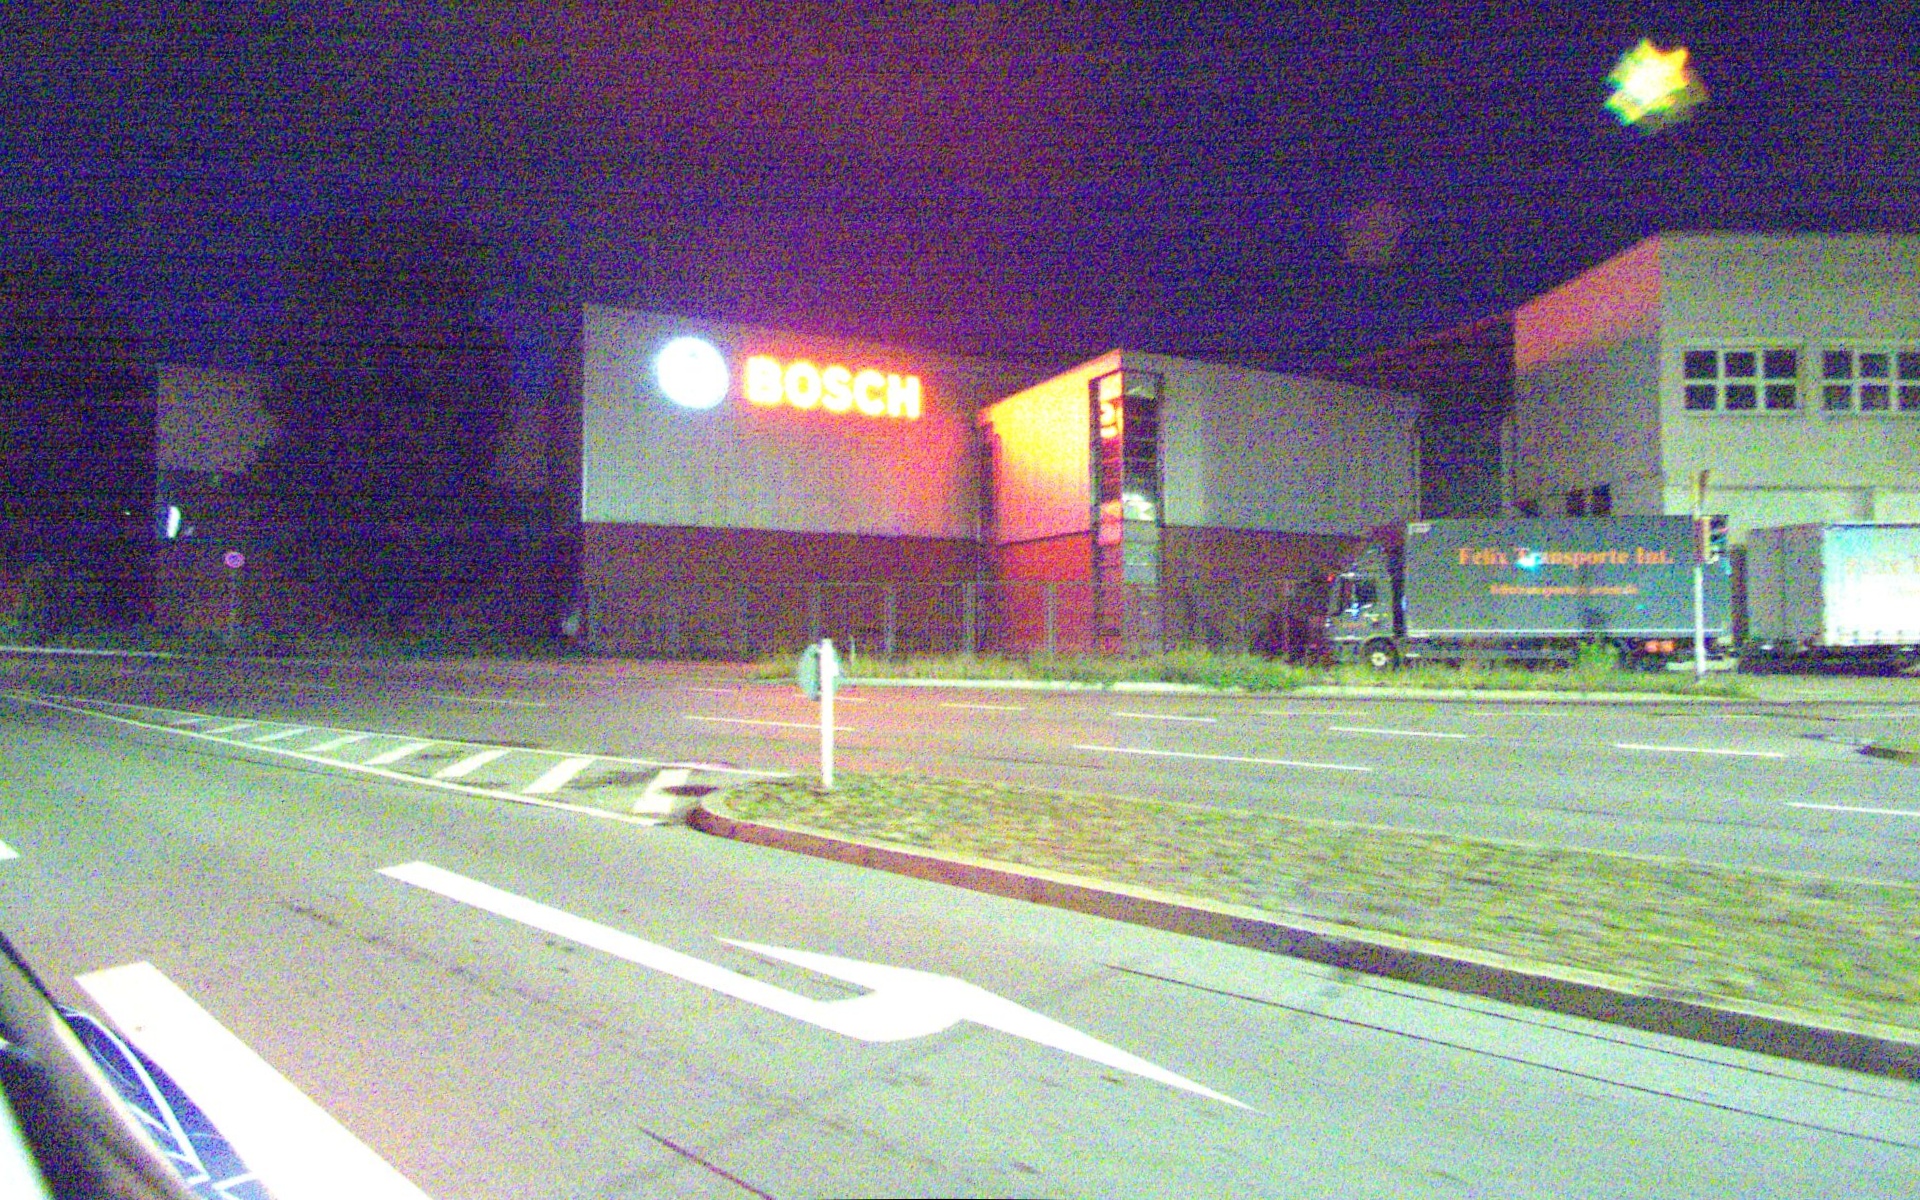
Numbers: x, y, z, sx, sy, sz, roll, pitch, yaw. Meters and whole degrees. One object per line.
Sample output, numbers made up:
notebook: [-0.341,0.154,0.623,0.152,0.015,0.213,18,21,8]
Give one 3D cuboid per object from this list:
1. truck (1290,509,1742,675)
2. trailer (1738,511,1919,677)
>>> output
truck: [13.476,-0.208,25.305,9.439,3.825,2.942,1,-1,6]
trailer: [23.164,-0.116,24.530,6.429,3.819,2.619,1,-1,4]
